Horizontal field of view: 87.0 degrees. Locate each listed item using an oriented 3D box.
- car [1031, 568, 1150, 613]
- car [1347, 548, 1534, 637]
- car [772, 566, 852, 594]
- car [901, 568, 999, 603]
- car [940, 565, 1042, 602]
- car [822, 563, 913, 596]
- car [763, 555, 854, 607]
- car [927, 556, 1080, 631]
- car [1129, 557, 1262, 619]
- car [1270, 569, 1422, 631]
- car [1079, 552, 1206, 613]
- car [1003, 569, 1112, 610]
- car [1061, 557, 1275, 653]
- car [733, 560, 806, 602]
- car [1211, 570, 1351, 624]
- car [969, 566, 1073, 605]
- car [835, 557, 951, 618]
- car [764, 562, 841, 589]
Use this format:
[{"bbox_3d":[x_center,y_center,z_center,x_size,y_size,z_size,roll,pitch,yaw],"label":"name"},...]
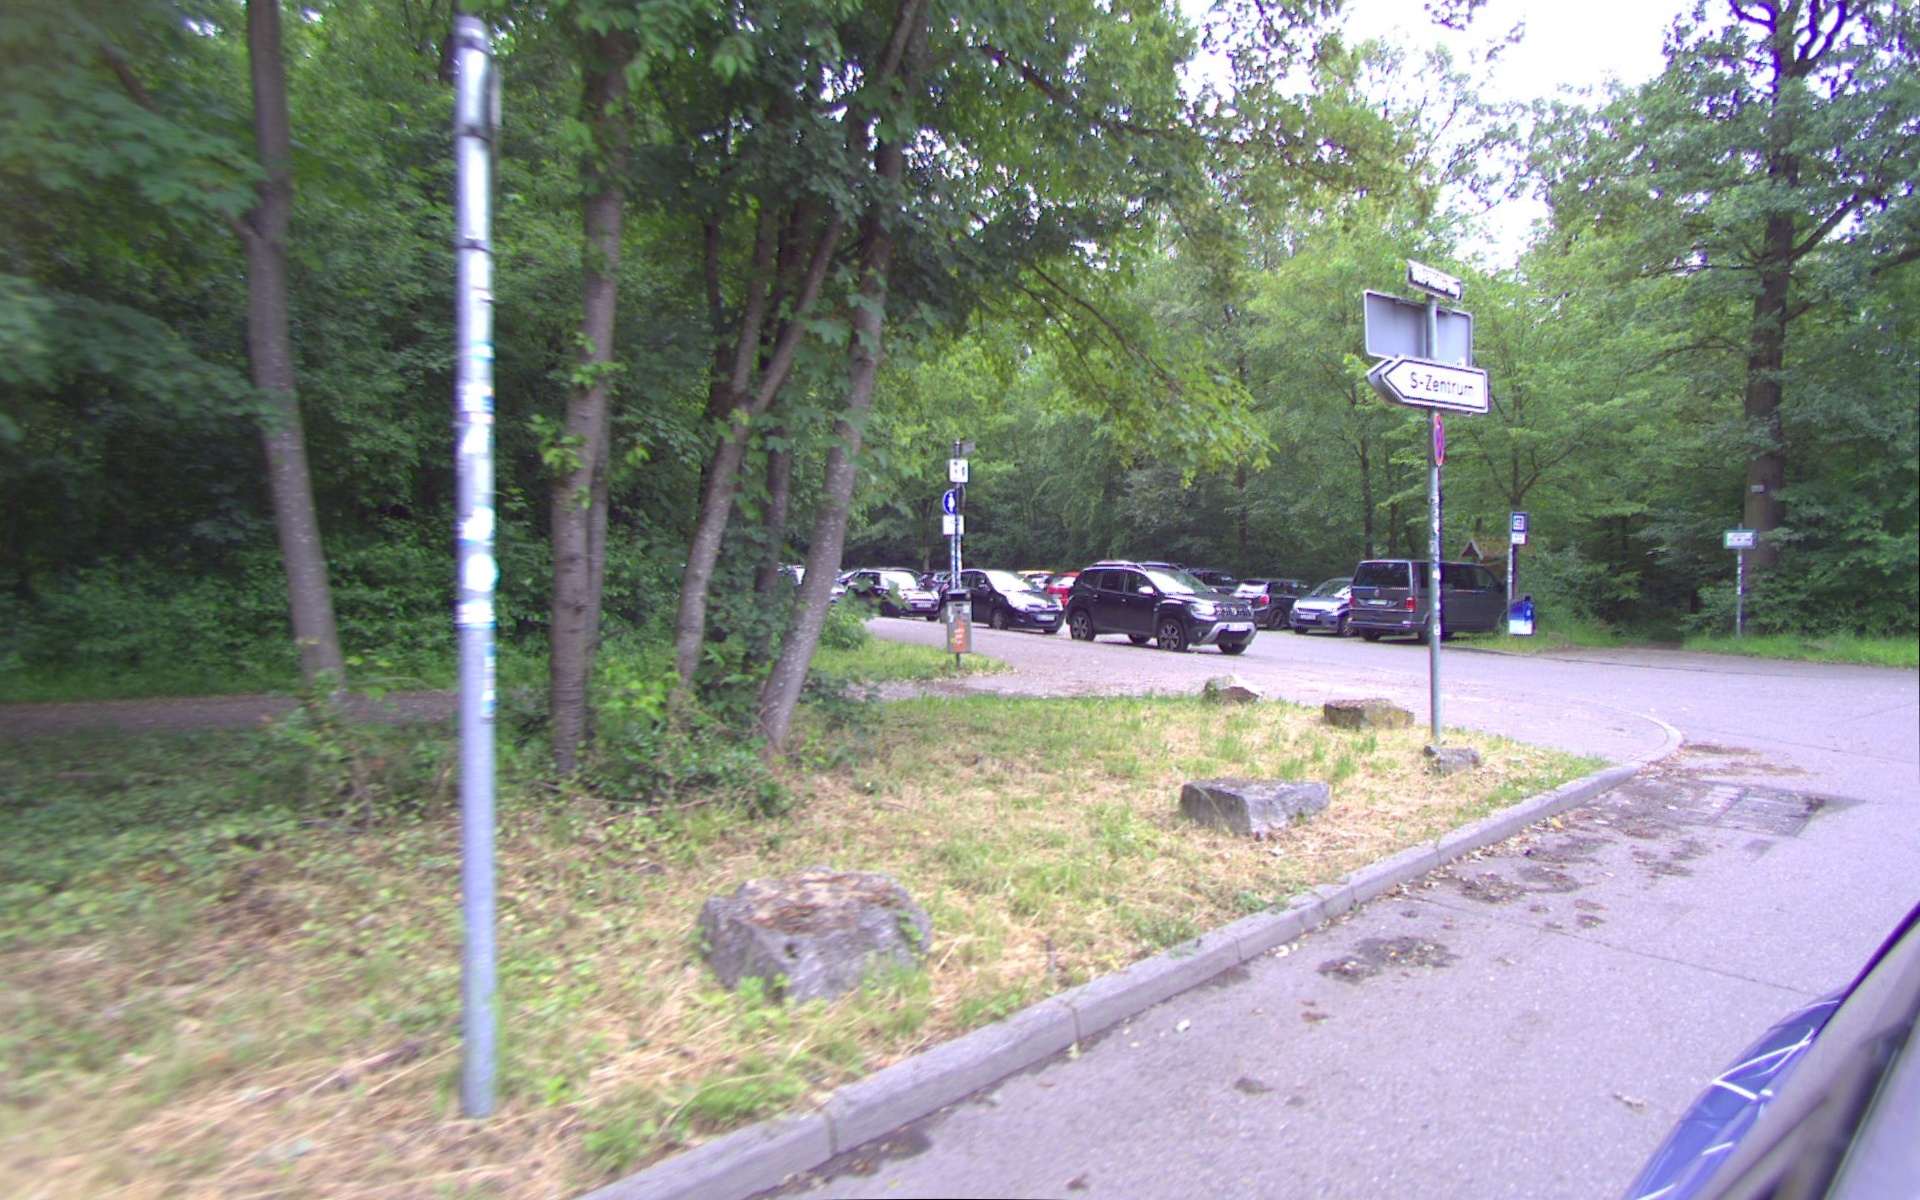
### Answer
[{"bbox_3d":[4.557,-0.331,35.265,3.923,1.494,1.780,0,1,-35],"label":"car"},{"bbox_3d":[11.666,-0.183,24.501,4.427,2.002,1.893,0,1,-30],"label":"car"},{"bbox_3d":[-7.993,-1.086,54.583,3.920,1.453,1.679,0,1,-31],"label":"car"},{"bbox_3d":[-0.423,-0.615,44.046,3.922,1.456,1.716,0,1,-33],"label":"car"},{"bbox_3d":[1.287,-0.715,41.893,3.922,1.456,1.735,-1,2,-33],"label":"car"},{"bbox_3d":[-4.320,-0.962,47.377,3.923,1.485,1.716,-1,2,-33],"label":"car"},{"bbox_3d":[-5.263,-0.700,34.779,1.706,1.653,4.382,0,2,-28],"label":"car"},{"bbox_3d":[0.971,-0.224,24.835,1.780,1.653,4.002,0,2,-32],"label":"car"},{"bbox_3d":[7.304,-0.418,31.270,3.924,1.787,1.825,-1,2,-34],"label":"car"},{"bbox_3d":[10.283,-0.021,26.954,3.750,1.531,1.811,0,1,-30],"label":"car"},{"bbox_3d":[6.021,-0.558,33.343,3.922,1.885,1.814,0,1,-33],"label":"car"},{"bbox_3d":[3.663,-0.388,37.827,3.924,1.456,1.672,0,1,-35],"label":"car"},{"bbox_3d":[3.915,0.008,19.716,1.779,1.653,4.104,0,2,-31],"label":"car"},{"bbox_3d":[-7.415,-0.785,39.106,1.706,1.513,4.242,0,2,-26],"label":"car"},{"bbox_3d":[9.315,-0.129,29.280,3.922,1.447,1.722,-1,2,-32],"label":"car"},{"bbox_3d":[2.421,-0.596,39.862,3.922,1.456,1.619,-1,2,-33],"label":"car"},{"bbox_3d":[-2.030,-0.418,29.687,1.779,1.653,4.003,0,2,-30],"label":"car"},{"bbox_3d":[-8.845,-1.367,56.791,3.921,1.453,1.650,0,1,-31],"label":"car"}]
